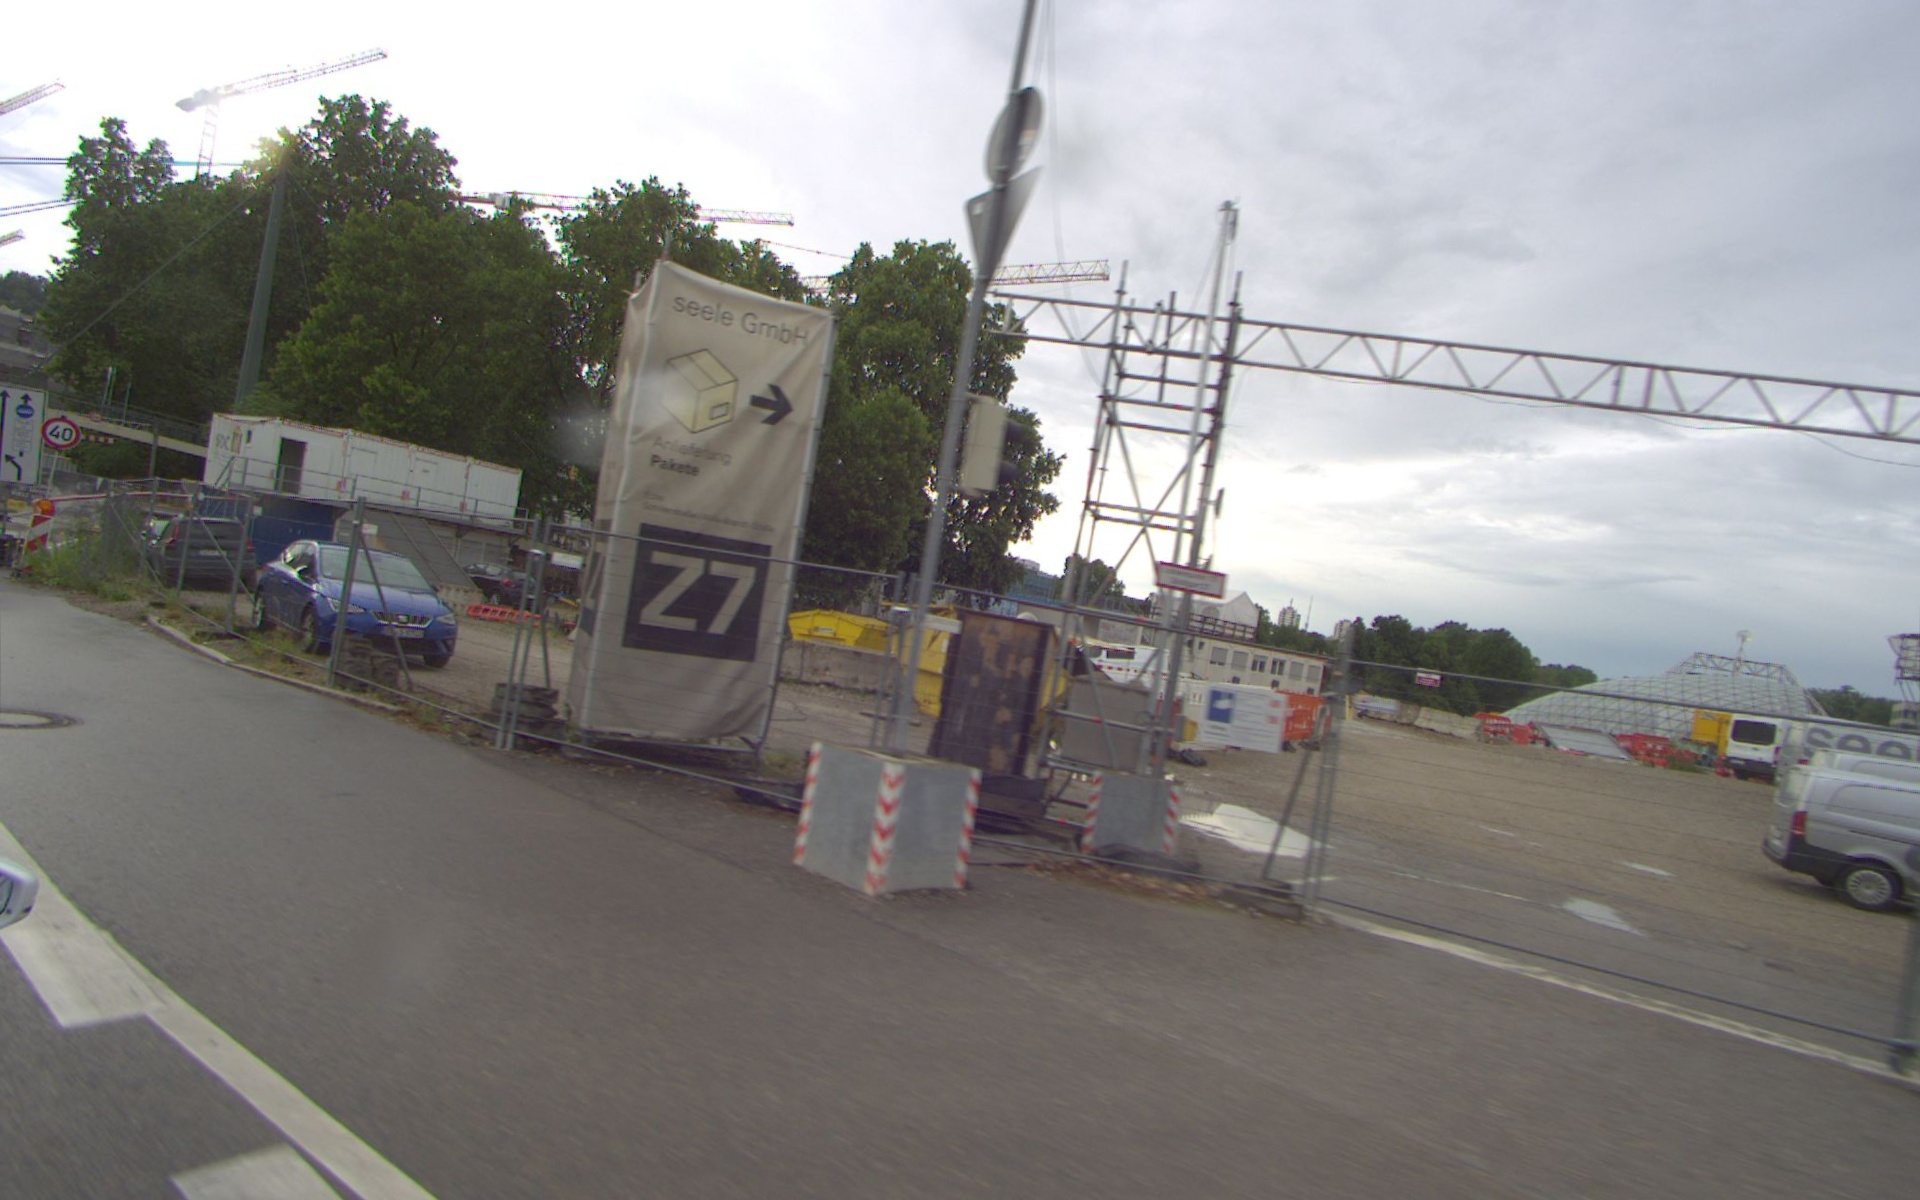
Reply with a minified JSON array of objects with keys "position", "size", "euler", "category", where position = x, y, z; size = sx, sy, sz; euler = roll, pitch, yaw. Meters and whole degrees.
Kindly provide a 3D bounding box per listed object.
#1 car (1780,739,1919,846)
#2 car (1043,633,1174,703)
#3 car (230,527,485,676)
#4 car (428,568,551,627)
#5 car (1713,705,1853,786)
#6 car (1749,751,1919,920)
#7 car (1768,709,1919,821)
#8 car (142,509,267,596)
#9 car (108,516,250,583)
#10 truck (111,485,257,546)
[{"position":[22.634,4.709,23.449],"size":[4.894,1.912,1.997],"euler":[7,2,25],"category":"car"},{"position":[6.437,2.946,43.914],"size":[5.167,2.308,1.953],"euler":[7,2,-2],"category":"car"},{"position":[-8.642,-0.043,14.257],"size":[4.353,1.457,1.832],"euler":[7,-3,43],"category":"car"},{"position":[-15.472,-0.083,33.030],"size":[3.934,1.321,1.715],"euler":[7,-2,33],"category":"car"},{"position":[31.252,5.528,38.220],"size":[4.344,2.413,2.139],"euler":[7,1,-23],"category":"car"},{"position":[14.571,3.650,14.517],"size":[4.575,1.925,2.015],"euler":[8,1,31],"category":"car"},{"position":[25.735,4.653,27.669],"size":[4.894,2.472,1.998],"euler":[7,1,25],"category":"car"},{"position":[-17.838,-1.157,23.677],"size":[1.913,1.672,4.359],"euler":[2,4,-43],"category":"car"},{"position":[-21.891,-1.421,28.165],"size":[3.935,1.502,1.853],"euler":[4,-1,33],"category":"car"},{"position":[-38.712,-4.173,50.319],"size":[2.370,2.037,5.162],"euler":[8,-1,33],"category":"truck"}]
